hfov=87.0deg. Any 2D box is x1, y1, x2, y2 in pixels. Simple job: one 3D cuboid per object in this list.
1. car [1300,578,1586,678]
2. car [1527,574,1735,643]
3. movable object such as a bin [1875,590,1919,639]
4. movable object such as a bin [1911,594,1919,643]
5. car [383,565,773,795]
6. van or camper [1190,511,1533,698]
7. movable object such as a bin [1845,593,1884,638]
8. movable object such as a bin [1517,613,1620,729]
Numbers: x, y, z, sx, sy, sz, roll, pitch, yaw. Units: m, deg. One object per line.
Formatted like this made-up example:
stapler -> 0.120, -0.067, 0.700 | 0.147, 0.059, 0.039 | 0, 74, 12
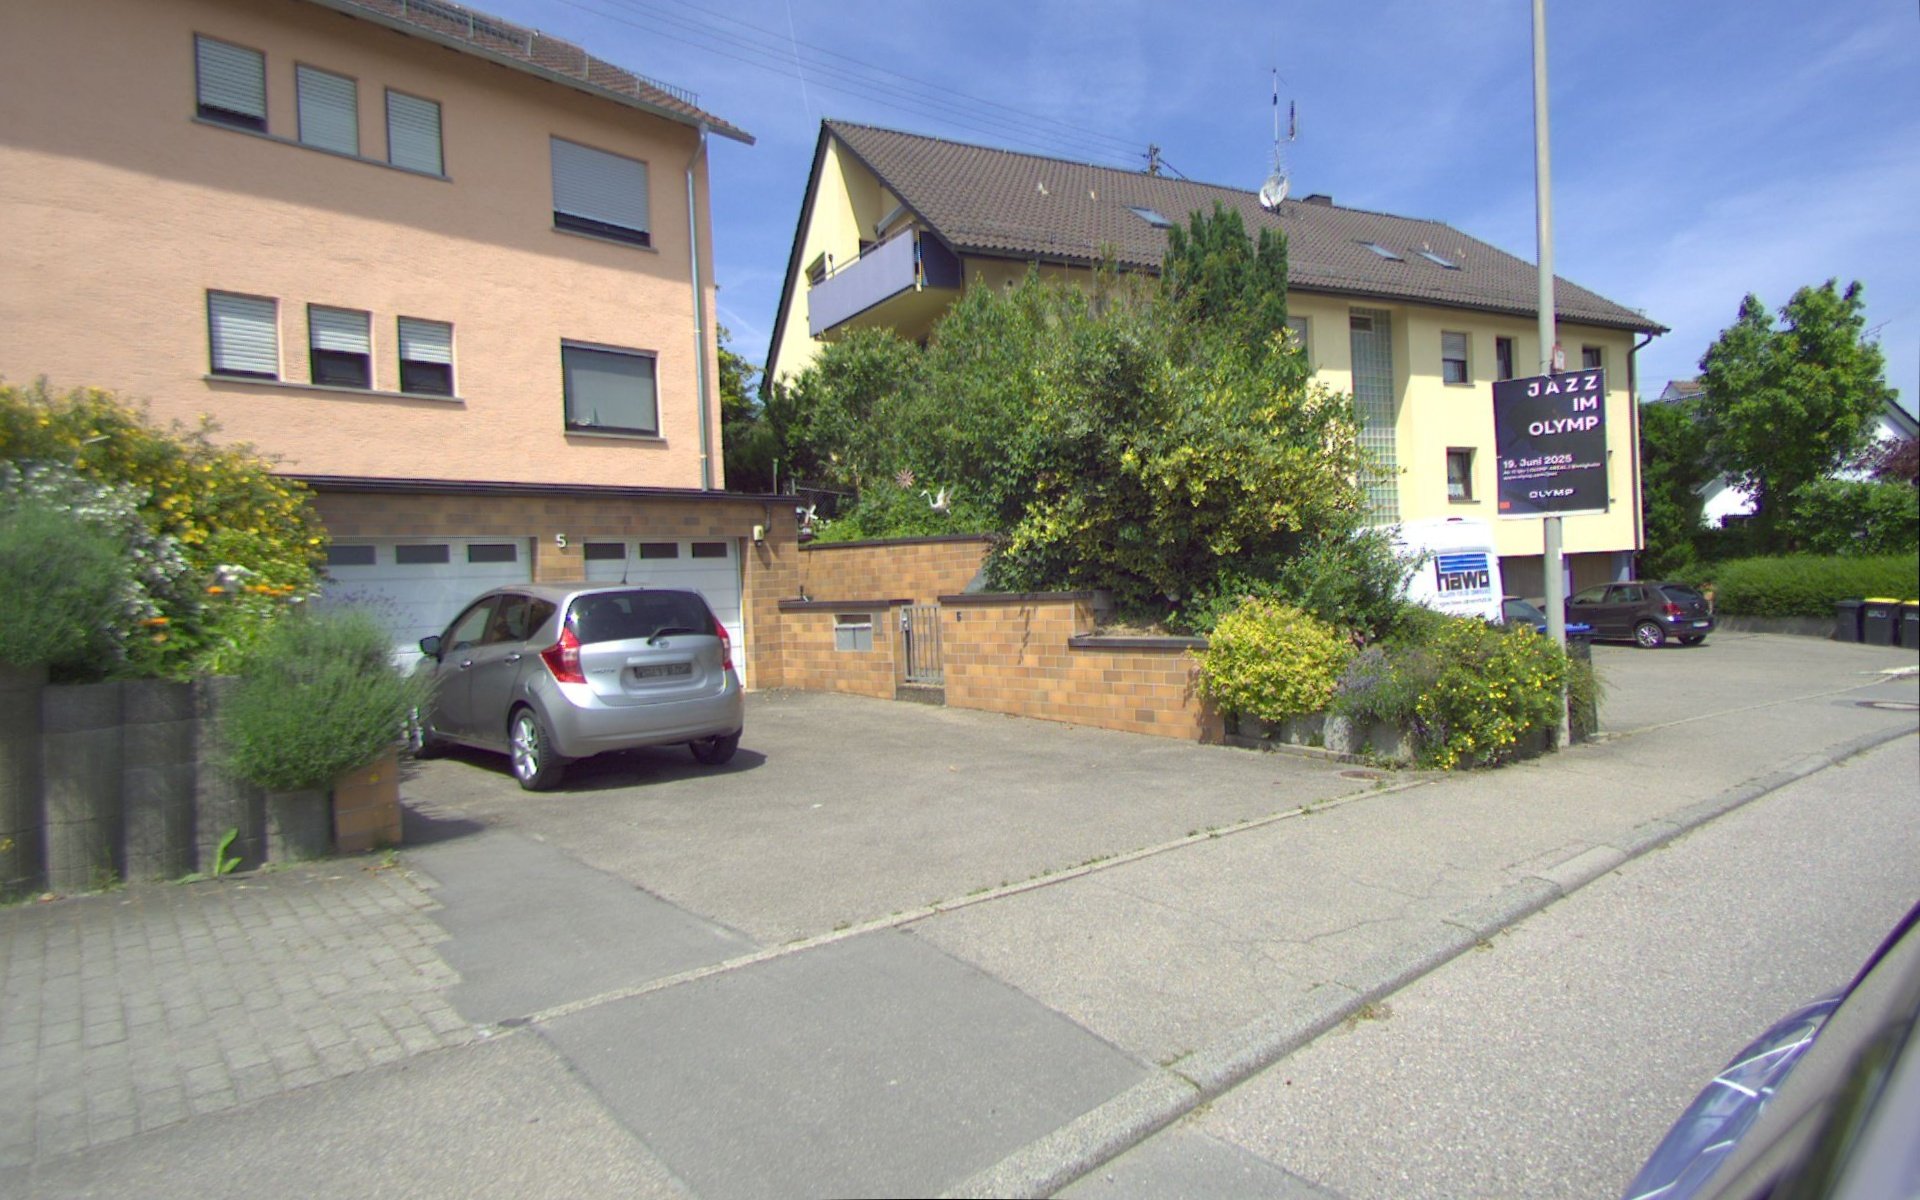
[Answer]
car -> 8.958, 0.460, 19.255 | 1.870, 1.582, 4.721 | -3, 1, -26
car -> 15.394, 0.176, 23.415 | 1.610, 1.436, 3.699 | -2, 1, -24
movable object such as a bin -> 20.606, 0.318, 22.262 | 0.552, 1.034, 0.487 | -1, 2, -21
movable object such as a bin -> 20.860, 0.397, 21.670 | 0.552, 1.034, 0.487 | -1, 2, -21
car -> -3.387, 0.573, 8.623 | 1.807, 1.518, 3.644 | 0, -2, -44
van or camper -> 6.648, 0.096, 17.556 | 2.238, 2.680, 5.250 | -3, 0, -26
movable object such as a bin -> 20.342, 0.339, 22.765 | 0.504, 0.967, 0.451 | -1, 3, -24
movable object such as a bin -> 5.952, 0.692, 9.906 | 0.646, 1.083, 0.551 | 0, -5, -33
